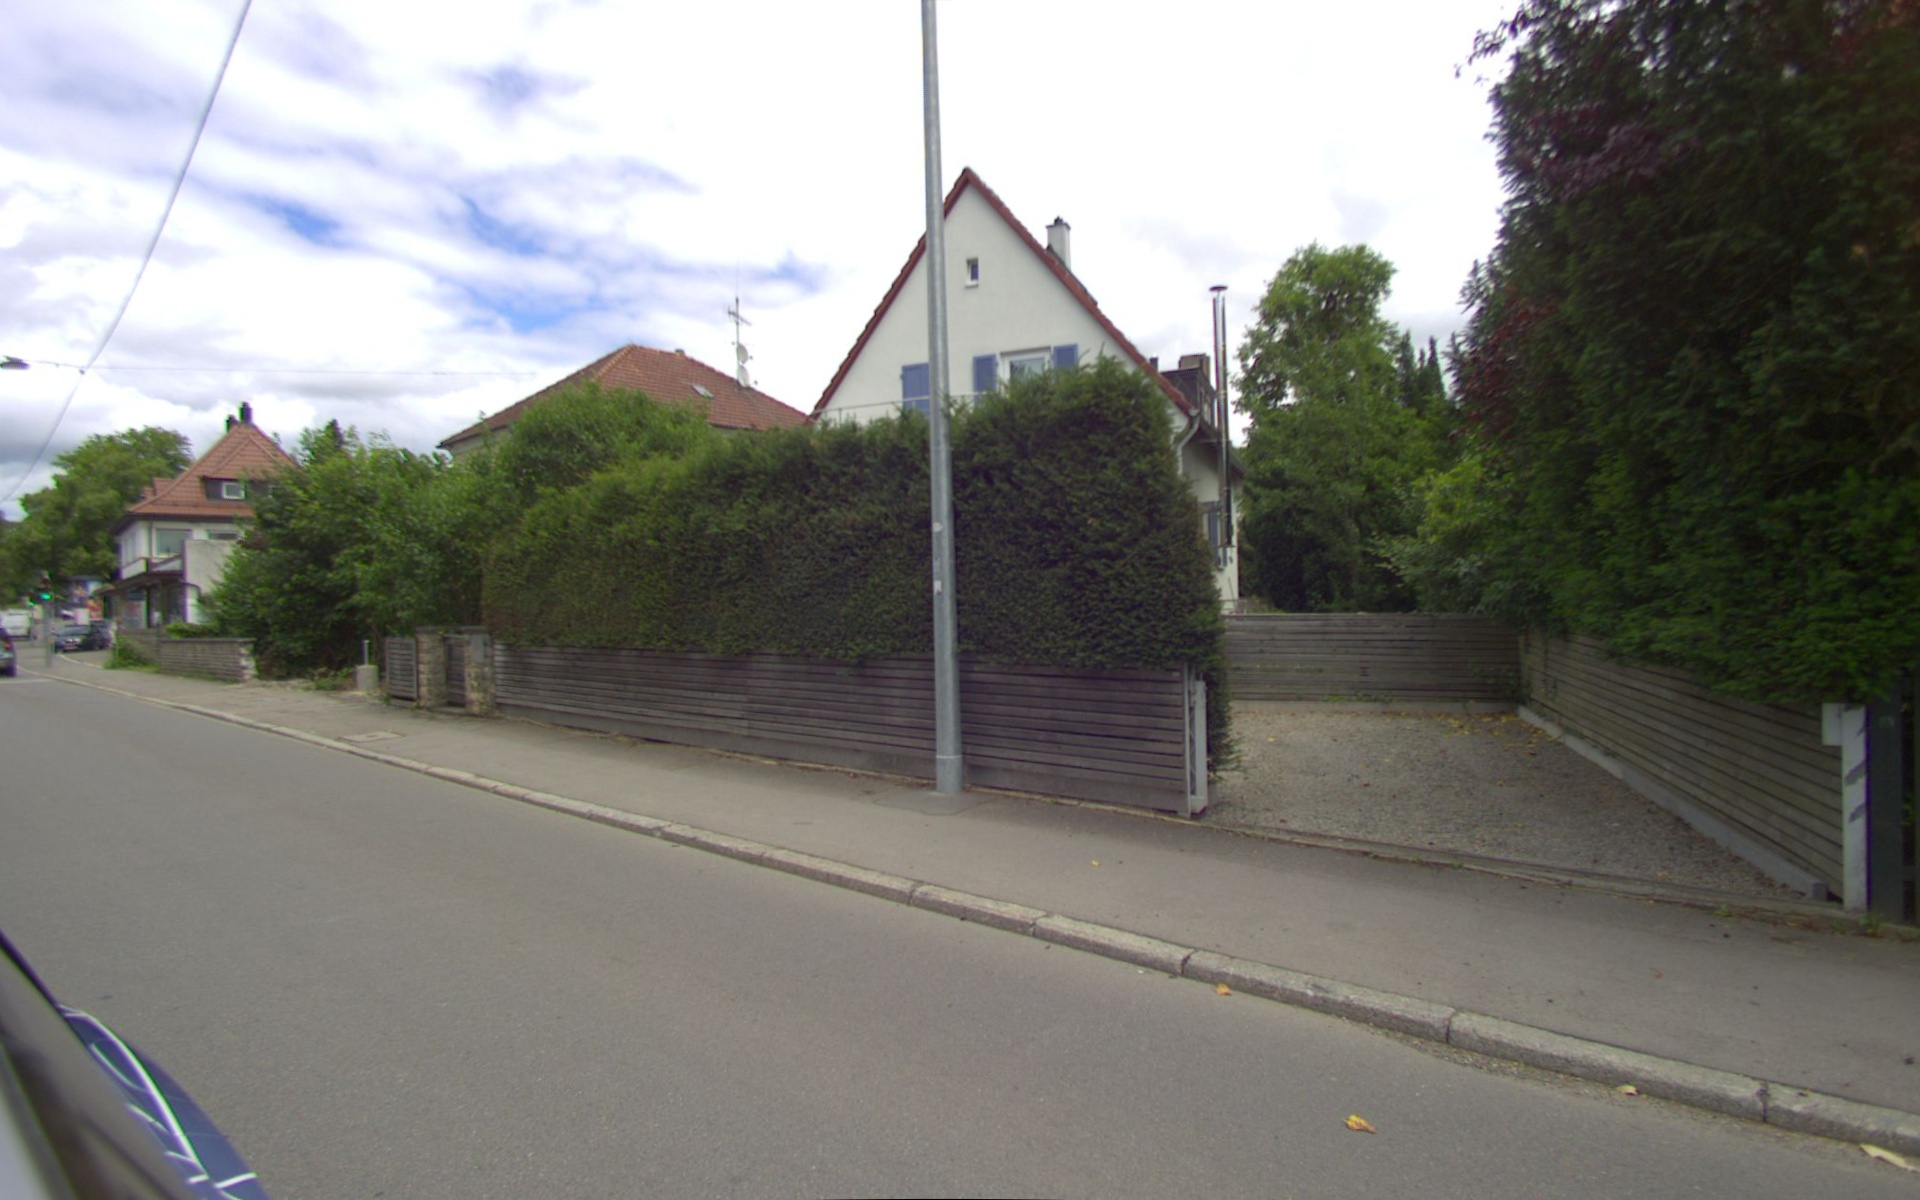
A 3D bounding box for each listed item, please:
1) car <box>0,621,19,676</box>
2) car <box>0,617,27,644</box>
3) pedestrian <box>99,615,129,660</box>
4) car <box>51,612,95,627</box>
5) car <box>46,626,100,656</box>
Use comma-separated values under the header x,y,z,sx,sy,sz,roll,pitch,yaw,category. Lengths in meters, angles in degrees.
x,y,z,sx,sy,sz,roll,pitch,yaw,category
-30.716,1.464,31.326,4.136,1.668,1.821,-1,-3,41,car
-74.355,2.358,78.954,4.833,1.930,1.860,-1,2,43,car
-33.979,1.508,40.648,0.604,1.757,0.811,-1,2,44,pedestrian
-113.279,2.456,129.231,3.934,1.752,2.005,-3,2,-34,car
-46.872,2.123,53.547,1.795,1.361,3.399,-3,2,-36,car
